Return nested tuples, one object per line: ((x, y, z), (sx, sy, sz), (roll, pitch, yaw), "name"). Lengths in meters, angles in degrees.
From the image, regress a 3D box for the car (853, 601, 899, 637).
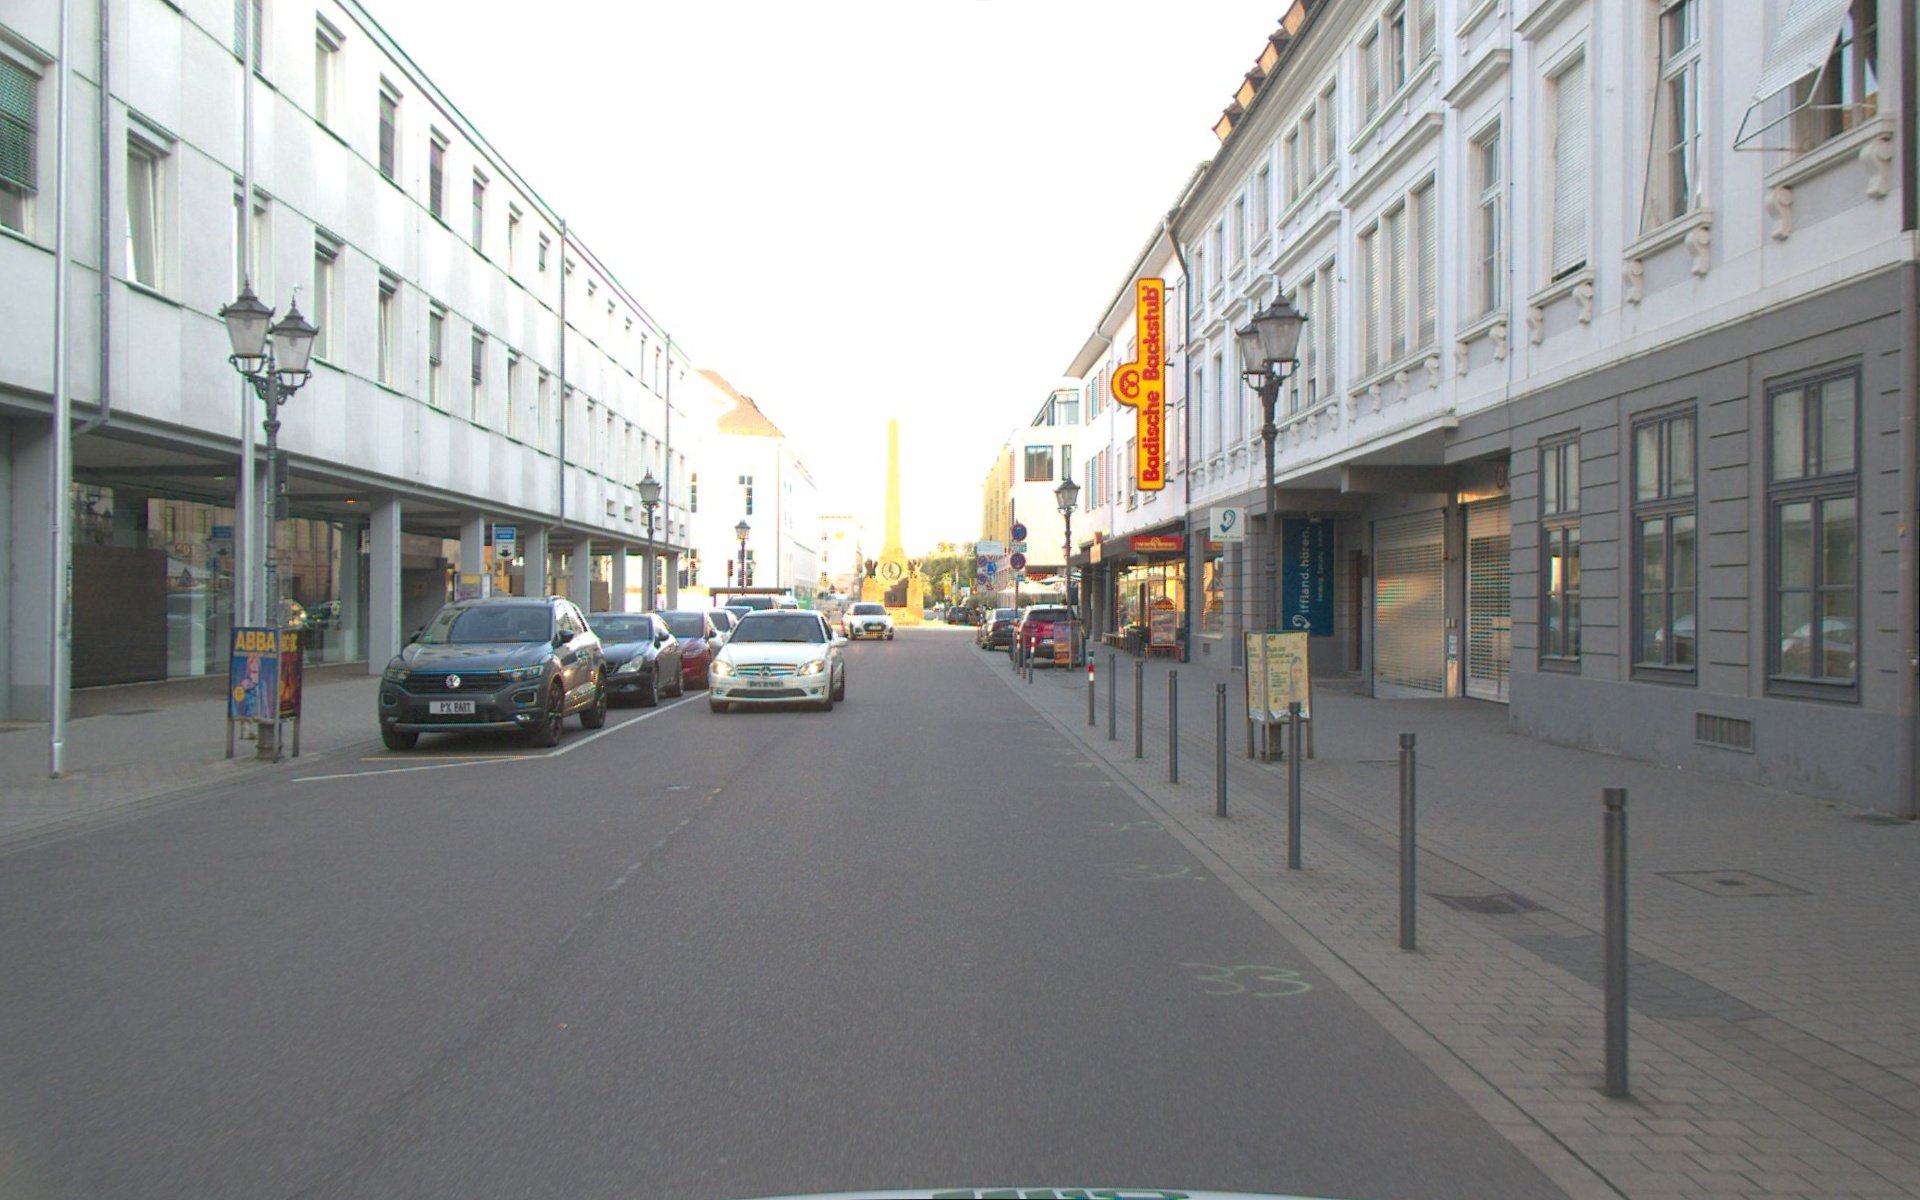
((-3.425, 0.756, 67.986), (1.728, 1.447, 3.999), (0, 0, -1), "car")

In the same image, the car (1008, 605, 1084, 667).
((2.176, 0.895, 42.684), (1.724, 1.550, 3.676), (0, 0, -1), "car")

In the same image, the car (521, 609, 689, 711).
((-5.396, 0.866, 25.629), (1.748, 1.433, 4.087), (0, 0, -1), "car")

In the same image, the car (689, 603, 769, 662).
((-5.945, 0.808, 42.931), (1.639, 1.424, 3.998), (-1, 0, -2), "car")

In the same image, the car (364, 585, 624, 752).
((-5.039, 0.685, 18.469), (1.748, 1.643, 4.165), (0, 0, -1), "car")

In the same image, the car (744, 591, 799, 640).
((-7.326, 0.582, 63.824), (1.956, 1.847, 4.775), (0, 0, -8), "car")

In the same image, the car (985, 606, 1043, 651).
((1.804, 0.944, 56.525), (1.765, 1.490, 4.116), (0, 0, -1), "car")

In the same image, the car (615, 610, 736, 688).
((-5.599, 0.923, 33.010), (1.748, 1.433, 4.087), (0, 0, -1), "car")

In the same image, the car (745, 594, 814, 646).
((-6.061, 0.656, 55.969), (1.953, 1.691, 3.999), (0, 0, -1), "car")

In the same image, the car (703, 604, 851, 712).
((-2.590, 0.786, 24.267), (1.748, 1.433, 4.087), (0, 0, -1), "car")

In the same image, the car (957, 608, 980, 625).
((0.753, 1.444, 146.636), (1.953, 1.490, 4.000), (0, 0, 0), "car")

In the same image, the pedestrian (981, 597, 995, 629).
((1.486, 0.681, 86.951), (0.676, 1.676, 0.695), (0, 0, -2), "pedestrian")

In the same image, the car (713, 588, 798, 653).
((-5.941, 0.572, 48.545), (1.953, 1.758, 4.515), (-1, 0, -1), "car")

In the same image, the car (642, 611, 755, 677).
((-5.778, 0.949, 37.040), (1.953, 1.378, 3.999), (0, 0, -1), "car")

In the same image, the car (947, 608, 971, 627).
((-0.100, 1.444, 138.142), (1.953, 1.490, 4.000), (0, 0, 0), "car")
